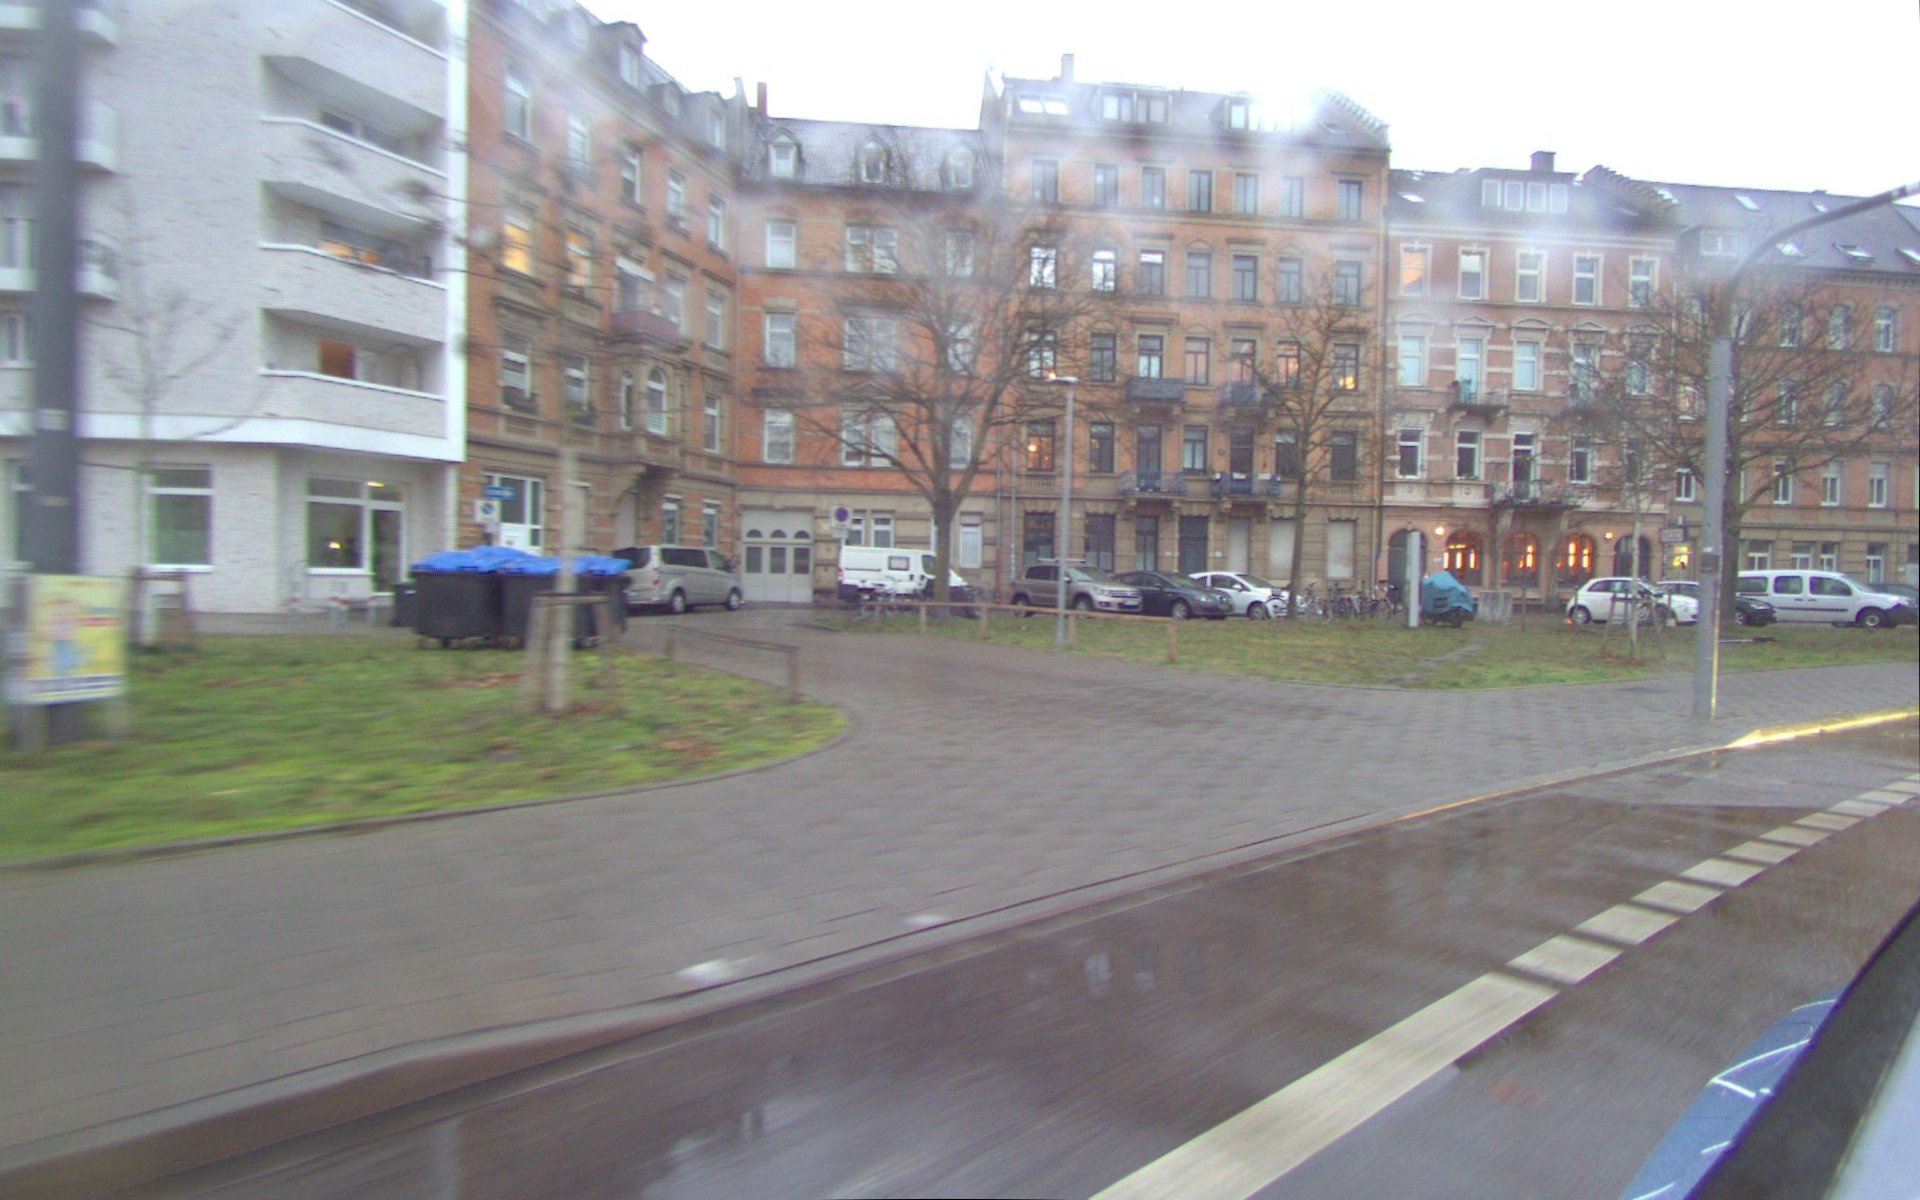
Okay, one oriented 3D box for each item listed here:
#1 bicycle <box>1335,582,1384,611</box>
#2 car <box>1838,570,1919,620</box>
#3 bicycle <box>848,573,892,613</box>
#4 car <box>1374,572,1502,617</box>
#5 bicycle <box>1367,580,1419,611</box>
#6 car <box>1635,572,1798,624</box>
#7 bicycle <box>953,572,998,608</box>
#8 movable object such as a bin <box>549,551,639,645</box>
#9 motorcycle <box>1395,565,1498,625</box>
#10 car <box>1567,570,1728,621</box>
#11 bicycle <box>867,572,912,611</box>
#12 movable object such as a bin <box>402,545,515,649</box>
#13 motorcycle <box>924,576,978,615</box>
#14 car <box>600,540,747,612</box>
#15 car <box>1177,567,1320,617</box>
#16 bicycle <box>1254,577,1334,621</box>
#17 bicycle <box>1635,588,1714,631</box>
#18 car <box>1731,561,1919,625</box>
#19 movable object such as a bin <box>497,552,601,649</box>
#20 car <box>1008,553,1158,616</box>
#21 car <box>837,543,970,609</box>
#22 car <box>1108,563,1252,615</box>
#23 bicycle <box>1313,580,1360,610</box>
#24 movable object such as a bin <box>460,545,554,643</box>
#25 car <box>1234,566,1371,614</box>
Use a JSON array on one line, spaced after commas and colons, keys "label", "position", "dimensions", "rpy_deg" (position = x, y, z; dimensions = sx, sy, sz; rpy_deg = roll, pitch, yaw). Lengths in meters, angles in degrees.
[{"label": "bicycle", "position": [12.146, -0.113, 30.803], "dimensions": [0.436, 0.787, 1.800], "rpy_deg": [1, 3, -12]}, {"label": "car", "position": [29.286, -0.133, 30.468], "dimensions": [1.667, 1.462, 3.969], "rpy_deg": [0, 2, -30]}, {"label": "bicycle", "position": [-2.404, -0.196, 26.873], "dimensions": [0.437, 0.942, 1.798], "rpy_deg": [0, 4, -30]}, {"label": "car", "position": [14.884, -0.200, 31.643], "dimensions": [1.492, 1.322, 3.302], "rpy_deg": [0, 2, -35]}, {"label": "bicycle", "position": [13.291, -0.143, 31.107], "dimensions": [0.386, 0.827, 1.800], "rpy_deg": [1, 3, -15]}, {"label": "car", "position": [23.031, -0.109, 30.929], "dimensions": [1.492, 1.454, 3.689], "rpy_deg": [0, 2, -35]}, {"label": "bicycle", "position": [0.425, -0.296, 28.918], "dimensions": [0.437, 0.942, 1.798], "rpy_deg": [0, 4, -30]}, {"label": "movable object such as a bin", "position": [-6.111, -0.043, 16.963], "dimensions": [1.118, 1.504, 1.053], "rpy_deg": [1, 1, 0]}, {"label": "motorcycle", "position": [12.418, -0.164, 25.952], "dimensions": [0.866, 1.362, 2.365], "rpy_deg": [0, 5, -21]}, {"label": "car", "position": [20.442, -0.176, 30.220], "dimensions": [1.492, 1.417, 3.689], "rpy_deg": [0, 2, -35]}, {"label": "bicycle", "position": [-1.912, -0.256, 27.170], "dimensions": [0.437, 0.942, 1.798], "rpy_deg": [0, 4, -30]}, {"label": "movable object such as a bin", "position": [-7.712, -0.062, 15.618], "dimensions": [1.229, 1.529, 1.053], "rpy_deg": [1, 1, 0]}, {"label": "motorcycle", "position": [-0.254, -0.138, 26.986], "dimensions": [0.503, 0.942, 1.796], "rpy_deg": [0, 4, -35]}, {"label": "car", "position": [-8.423, -0.726, 30.253], "dimensions": [1.919, 1.966, 4.568], "rpy_deg": [1, 2, 20]}, {"label": "car", "position": [8.159, -0.270, 28.836], "dimensions": [1.637, 1.322, 3.688], "rpy_deg": [0, 2, -36]}, {"label": "bicycle", "position": [8.522, -0.030, 25.892], "dimensions": [1.880, 1.031, 0.535], "rpy_deg": [2, 3, 14]}, {"label": "bicycle", "position": [17.598, 0.213, 24.968], "dimensions": [0.437, 0.942, 1.799], "rpy_deg": [1, 3, -8]}, {"label": "car", "position": [26.273, -0.258, 30.641], "dimensions": [1.748, 1.790, 4.345], "rpy_deg": [0, 2, -36]}, {"label": "movable object such as a bin", "position": [-6.405, 0.000, 15.848], "dimensions": [1.202, 1.450, 1.053], "rpy_deg": [1, 1, 0]}, {"label": "car", "position": [3.310, -0.466, 27.924], "dimensions": [1.710, 1.589, 4.156], "rpy_deg": [0, 2, -36]}, {"label": "car", "position": [-2.053, -0.863, 36.010], "dimensions": [4.566, 2.216, 2.003], "rpy_deg": [1, 1, -8]}, {"label": "car", "position": [6.011, -0.343, 27.986], "dimensions": [1.710, 1.322, 3.688], "rpy_deg": [0, 2, -36]}, {"label": "bicycle", "position": [11.469, -0.160, 30.875], "dimensions": [0.436, 0.804, 1.800], "rpy_deg": [1, 3, -12]}, {"label": "movable object such as a bin", "position": [-7.621, -0.110, 17.067], "dimensions": [1.118, 1.595, 1.053], "rpy_deg": [1, 1, 0]}, {"label": "car", "position": [10.153, -0.322, 30.216], "dimensions": [1.493, 1.322, 3.688], "rpy_deg": [0, 2, -36]}]
